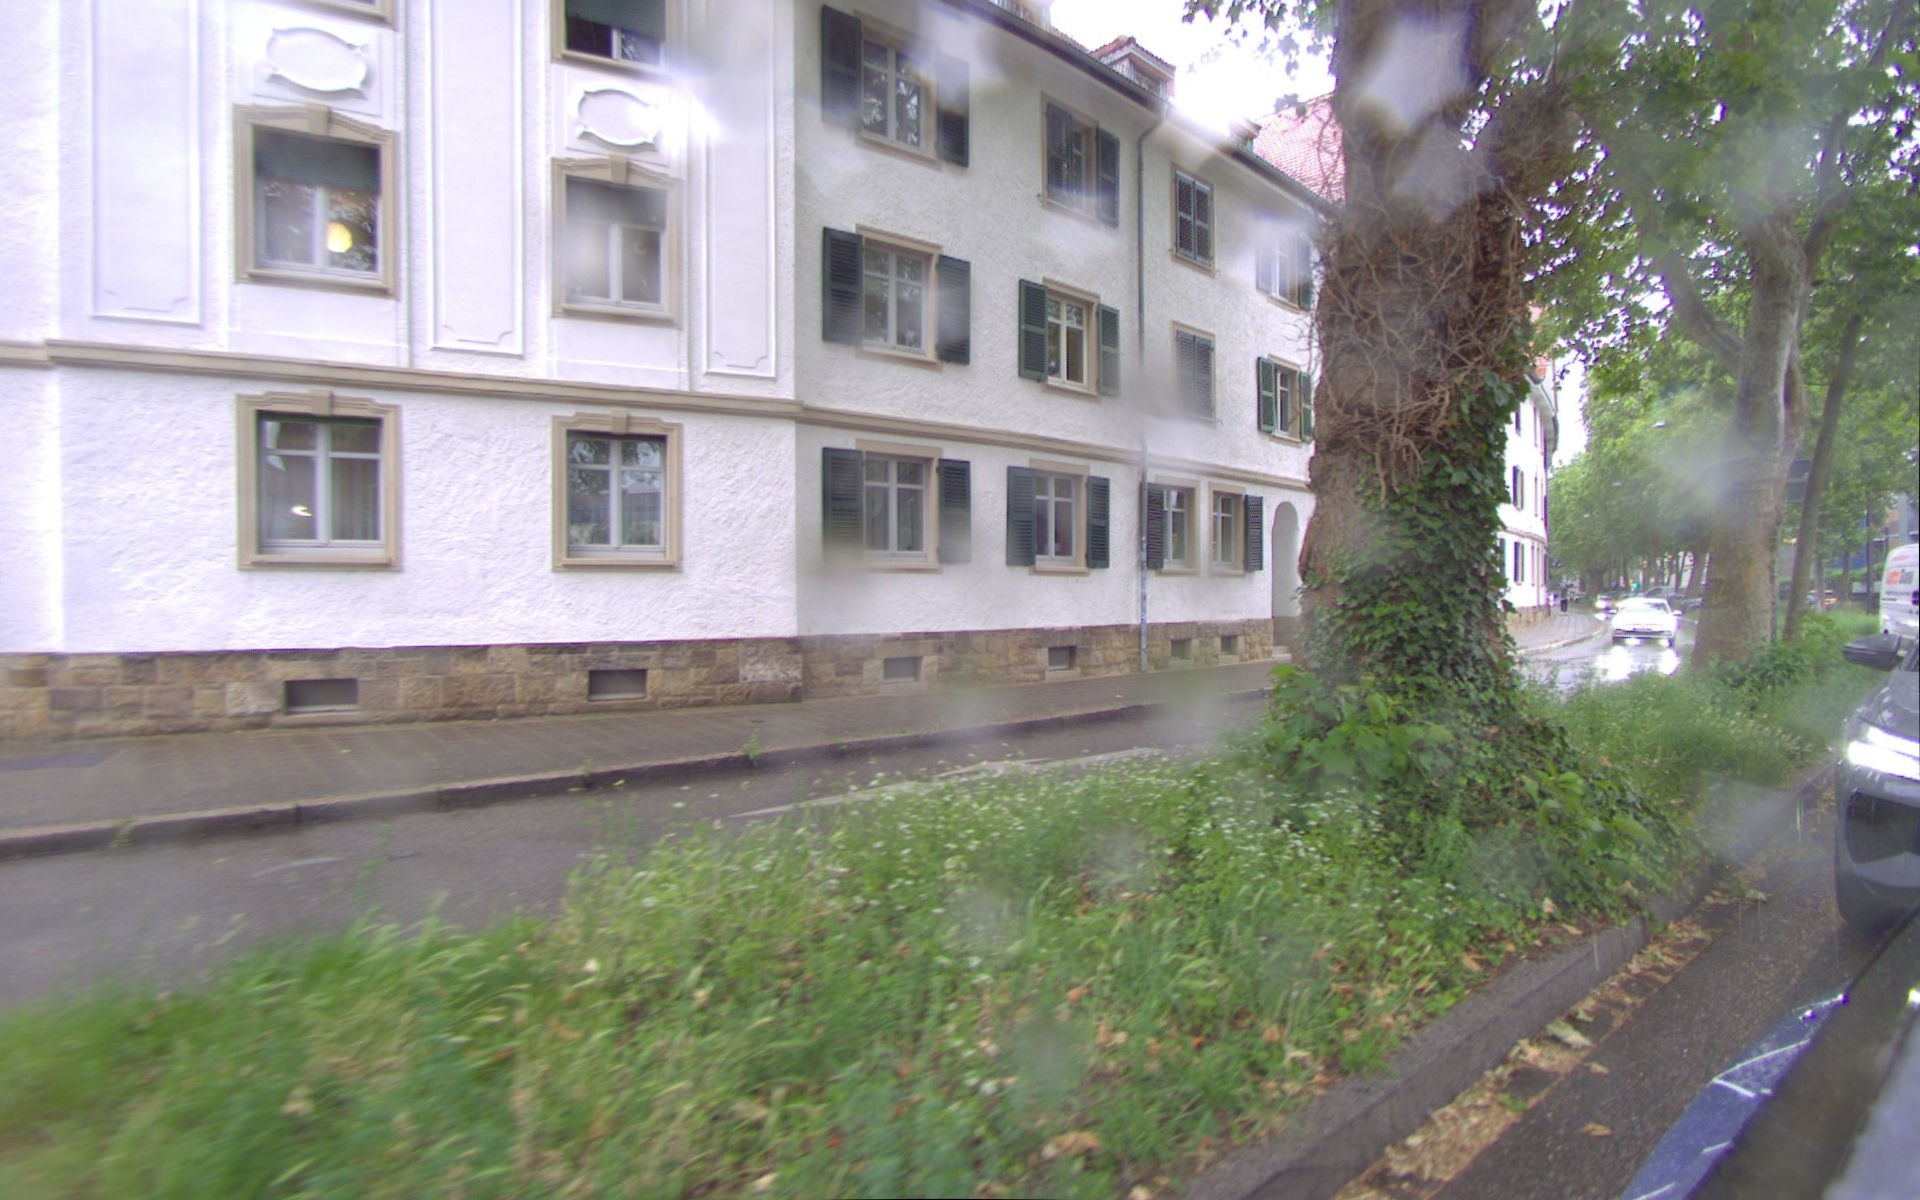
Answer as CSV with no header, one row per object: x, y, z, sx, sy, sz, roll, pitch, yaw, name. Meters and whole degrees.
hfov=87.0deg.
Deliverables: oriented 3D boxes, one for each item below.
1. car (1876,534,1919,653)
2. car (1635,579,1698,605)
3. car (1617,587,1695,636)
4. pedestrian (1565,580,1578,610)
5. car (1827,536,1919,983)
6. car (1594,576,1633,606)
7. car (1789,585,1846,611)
19.869,-0.133,19.648,2.180,2.292,5.349,0,0,33,car
56.249,-0.602,80.694,3.969,2.039,1.977,0,0,32,car
23.898,0.350,34.679,1.824,1.544,3.942,0,1,40,car
38.082,-0.307,63.018,0.668,1.844,0.672,0,0,31,pedestrian
5.501,0.565,4.647,4.039,1.662,1.913,-1,1,-44,car
49.486,-0.724,76.722,1.983,2.037,3.962,5,3,28,car
50.454,-0.125,59.604,1.703,1.478,3.713,0,1,27,car
